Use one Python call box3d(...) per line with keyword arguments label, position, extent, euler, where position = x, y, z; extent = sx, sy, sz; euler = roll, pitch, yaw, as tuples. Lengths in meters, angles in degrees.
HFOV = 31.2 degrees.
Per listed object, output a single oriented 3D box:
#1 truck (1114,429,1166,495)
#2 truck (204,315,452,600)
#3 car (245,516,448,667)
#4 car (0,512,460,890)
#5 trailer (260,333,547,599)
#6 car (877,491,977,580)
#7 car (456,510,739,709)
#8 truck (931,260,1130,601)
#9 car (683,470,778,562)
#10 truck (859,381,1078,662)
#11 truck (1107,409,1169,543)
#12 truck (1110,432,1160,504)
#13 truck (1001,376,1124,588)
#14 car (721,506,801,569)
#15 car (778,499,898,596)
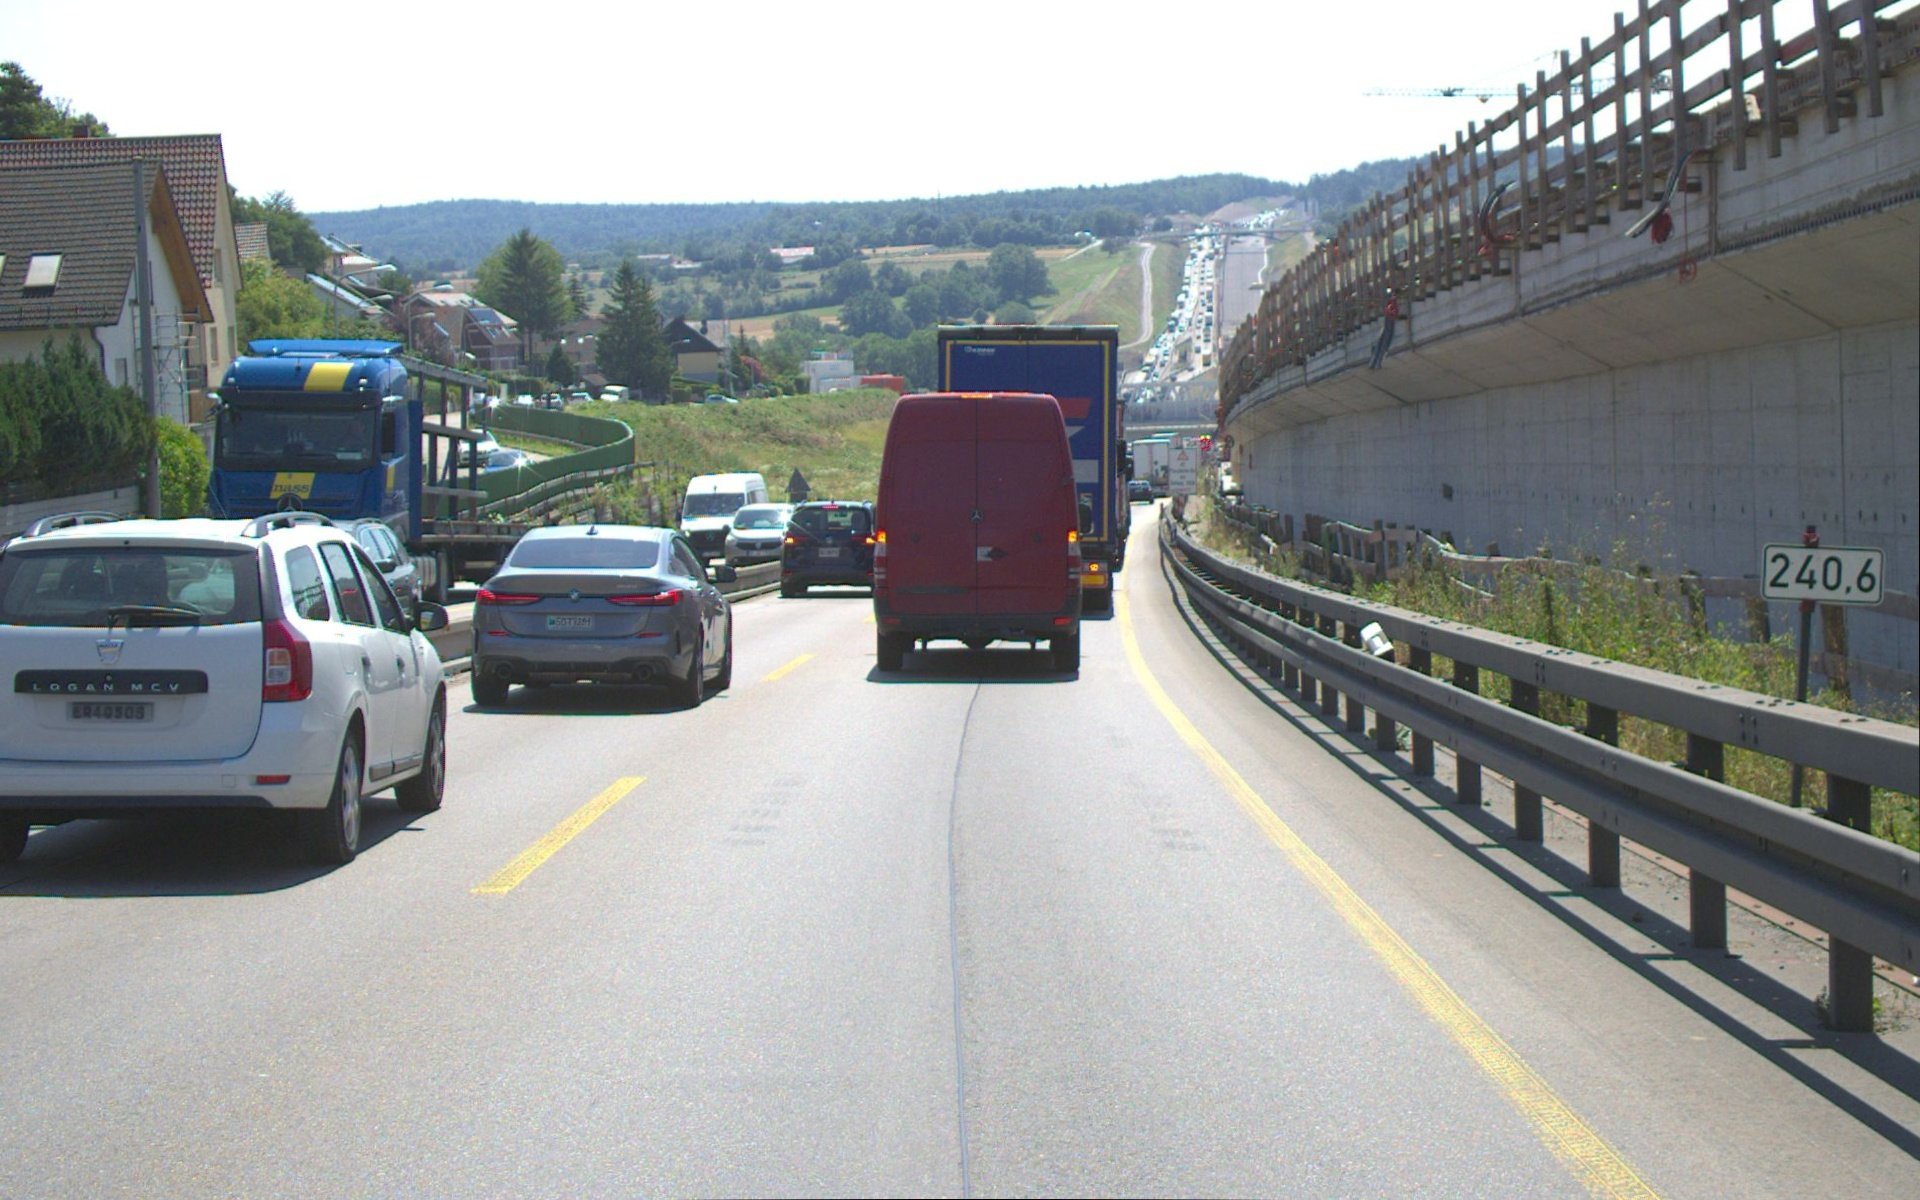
box3d(label="truck", position=(12.944, -9.853, 246.827), extent=(3.468, 4.366, 8.555), euler=(0, 0, 4))
box3d(label="truck", position=(-9.183, -1.983, 50.434), extent=(2.508, 3.951, 5.175), euler=(0, 0, 2))
box3d(label="car", position=(-6.444, -0.143, 36.496), extent=(1.544, 1.459, 4.629), euler=(1, 1, -3))
box3d(label="car", position=(-3.488, 0.403, 16.137), extent=(1.651, 1.478, 4.267), euler=(-3, 0, -1))
box3d(label="trailer", position=(-8.983, -2.056, 56.983), extent=(2.508, 3.951, 11.398), euler=(0, 1, 2))
box3d(label="car", position=(-0.678, -1.383, 73.358), extent=(1.729, 1.832, 3.999), euler=(0, 1, 5))
box3d(label="car", position=(-2.871, 0.056, 28.041), extent=(1.795, 1.480, 4.049), euler=(-1, 0, 1))
box3d(label="truck", position=(1.079, -2.398, 53.416), extent=(2.786, 4.799, 9.684), euler=(0, 0, 1))
box3d(label="car", position=(-6.605, -2.401, 99.658), extent=(1.994, 2.498, 5.515), euler=(0, 0, 4))
box3d(label="truck", position=(0.092, -0.718, 33.597), extent=(1.993, 2.570, 4.000), euler=(0, 0, 0))
box3d(label="truck", position=(6.069, -4.165, 116.690), extent=(1.994, 4.366, 3.999), euler=(0, 0, 4))
box3d(label="truck", position=(11.508, -8.601, 225.835), extent=(3.069, 4.366, 8.555), euler=(0, 0, 4))
box3d(label="truck", position=(2.439, -2.721, 83.591), extent=(2.786, 4.799, 9.684), euler=(0, 0, 1))
box3d(label="car", position=(-4.696, -1.495, 81.553), extent=(1.562, 1.459, 4.019), euler=(0, 1, 2))
box3d(label="car", position=(-2.080, -0.881, 59.568), extent=(1.810, 1.602, 3.719), euler=(0, 0, 2))
